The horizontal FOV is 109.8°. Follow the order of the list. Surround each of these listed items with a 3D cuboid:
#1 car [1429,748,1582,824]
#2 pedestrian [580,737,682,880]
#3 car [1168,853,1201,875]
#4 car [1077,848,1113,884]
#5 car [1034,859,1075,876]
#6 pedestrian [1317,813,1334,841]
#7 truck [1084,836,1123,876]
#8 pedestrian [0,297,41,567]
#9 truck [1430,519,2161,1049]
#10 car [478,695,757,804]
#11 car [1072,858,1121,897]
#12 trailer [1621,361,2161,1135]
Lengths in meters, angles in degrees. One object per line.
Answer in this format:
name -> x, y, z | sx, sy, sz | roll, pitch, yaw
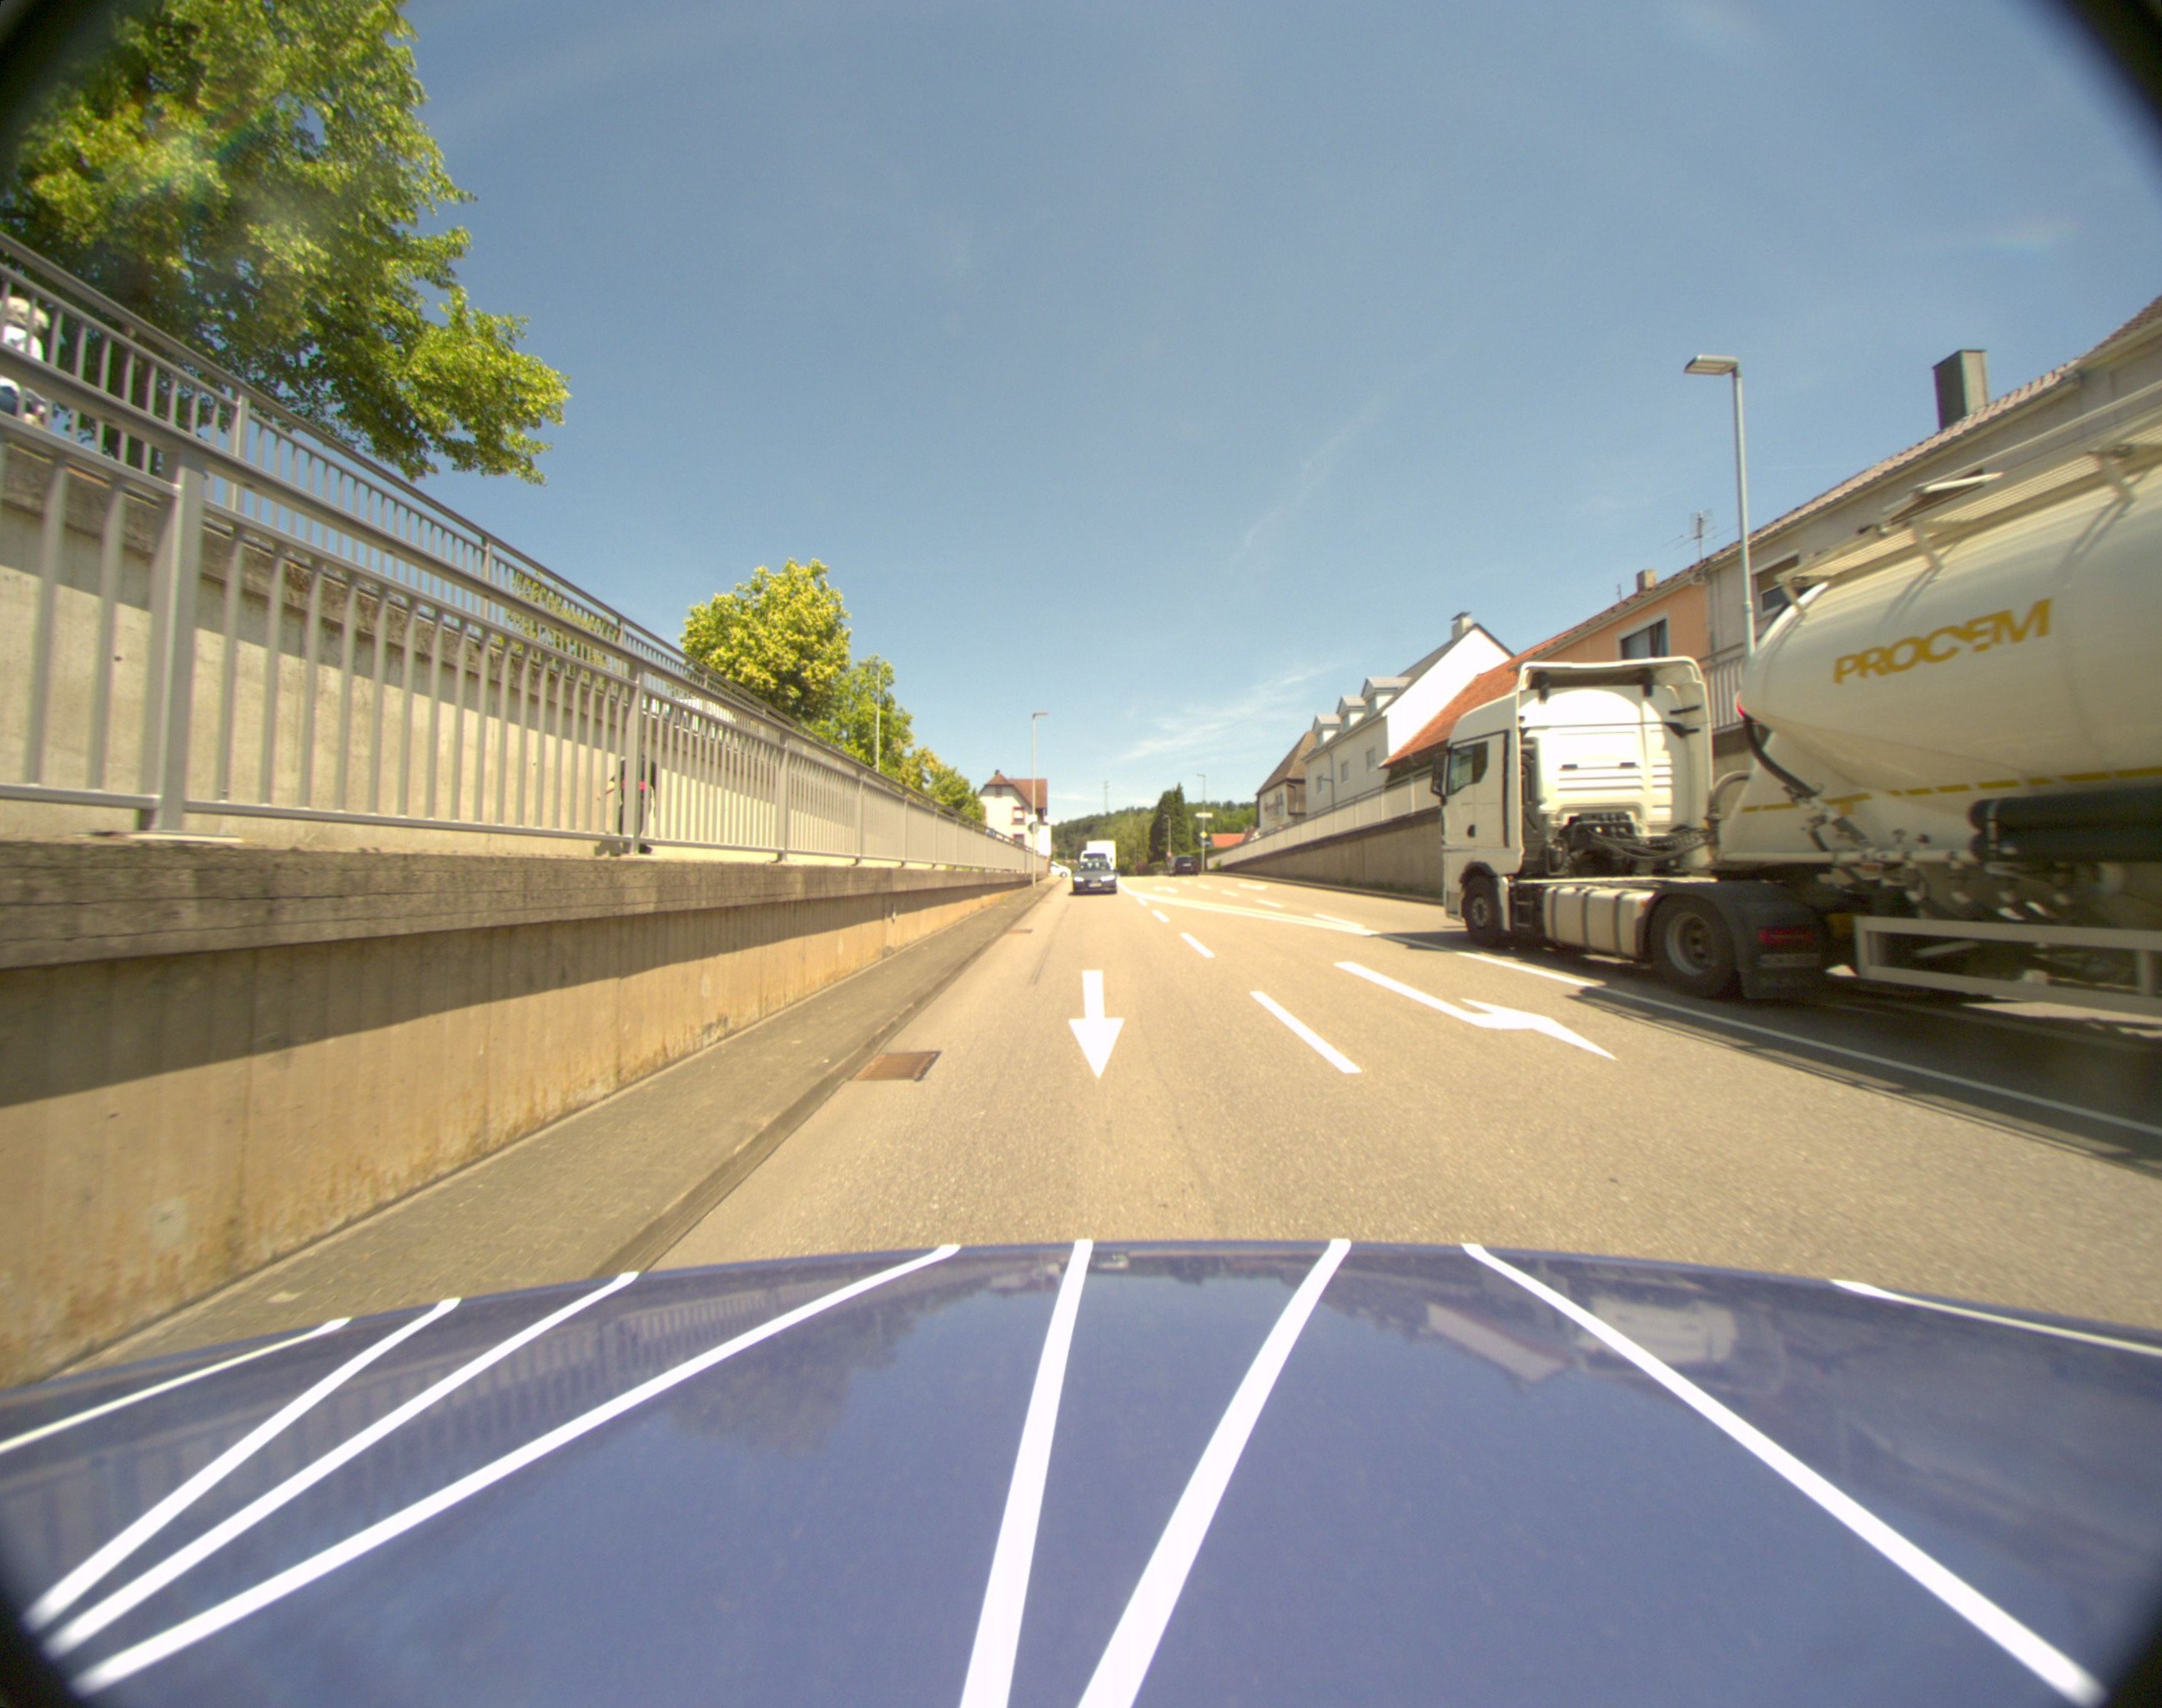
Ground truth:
car -> 11.832, -1.822, 21.561 | 1.818, 1.453, 4.311 | -2, -3, -1
pedestrian -> -5.827, -0.565, 9.880 | 0.838, 1.771, 0.788 | -1, 0, 1
car -> 7.280, 0.686, 53.812 | 1.765, 1.480, 4.369 | -2, 0, 2
car -> 0.865, 0.683, 46.650 | 1.998, 2.002, 4.548 | -2, 0, 1
car -> -2.419, 1.244, 69.420 | 3.680, 1.469, 1.776 | 1, -2, -5
pedestrian -> 15.600, -1.733, 48.439 | 0.729, 1.719, 0.856 | -2, 0, -3
truck -> 2.032, 0.230, 72.107 | 3.149, 3.466, 8.271 | -1, 0, -1
pedestrian -> -7.673, -2.899, 5.040 | 0.674, 1.768, 0.594 | -1, -2, 2
truck -> 6.923, -0.519, 8.909 | 2.668, 3.838, 6.580 | -2, 0, 1
car -> -10.387, -2.309, 17.313 | 5.124, 2.050, 1.990 | -1, -3, 2
car -> 0.617, 0.917, 31.530 | 1.864, 1.441, 4.000 | -1, 0, 1
trailer -> 6.810, -0.556, 3.132 | 2.616, 3.941, 9.346 | -2, 0, 1
